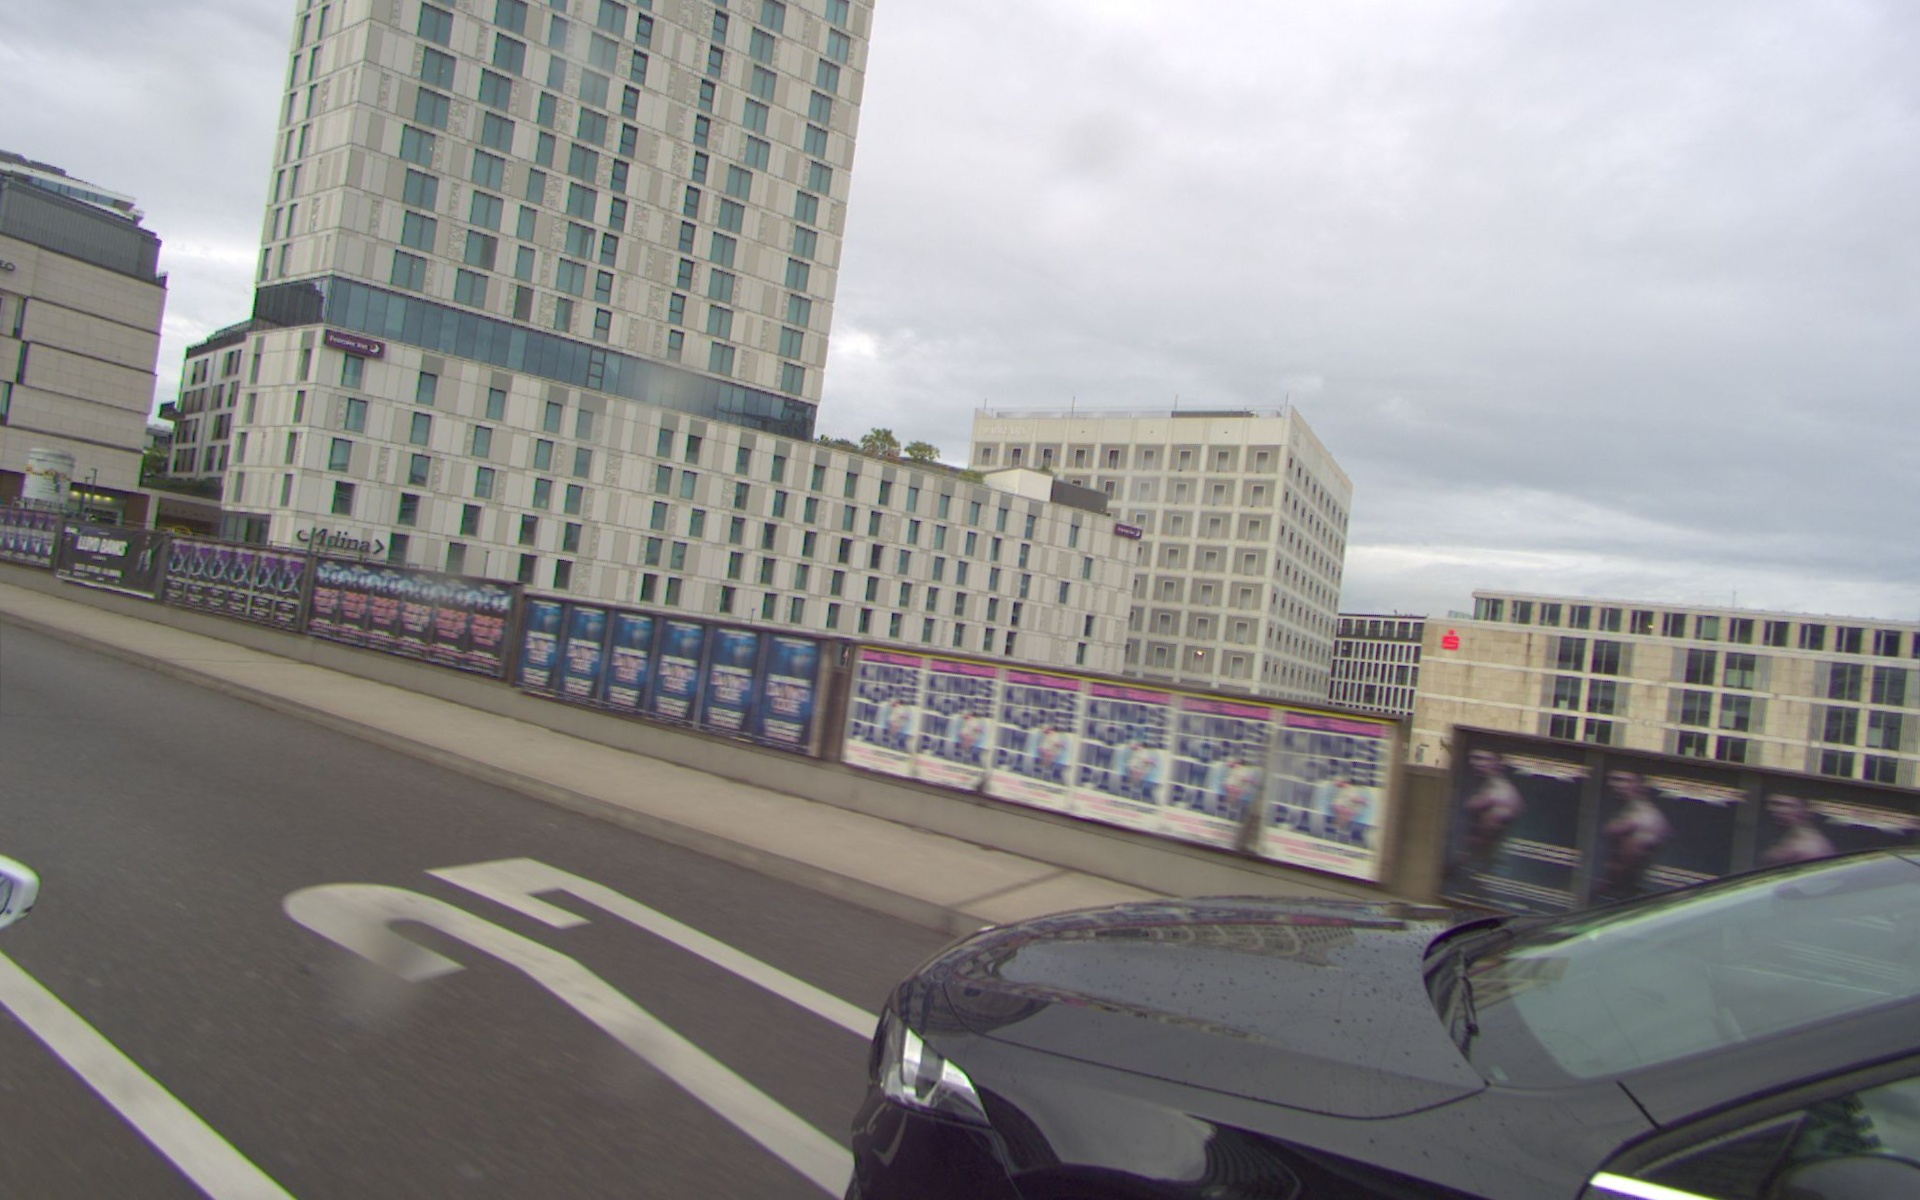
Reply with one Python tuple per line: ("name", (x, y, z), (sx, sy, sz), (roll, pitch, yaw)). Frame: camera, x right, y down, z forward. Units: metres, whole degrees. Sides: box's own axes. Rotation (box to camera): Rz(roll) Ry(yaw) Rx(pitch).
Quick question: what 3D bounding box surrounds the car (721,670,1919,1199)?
("car", (1.742, 1.083, 1.586), (4.087, 1.392, 1.726), (6, -2, 32))
